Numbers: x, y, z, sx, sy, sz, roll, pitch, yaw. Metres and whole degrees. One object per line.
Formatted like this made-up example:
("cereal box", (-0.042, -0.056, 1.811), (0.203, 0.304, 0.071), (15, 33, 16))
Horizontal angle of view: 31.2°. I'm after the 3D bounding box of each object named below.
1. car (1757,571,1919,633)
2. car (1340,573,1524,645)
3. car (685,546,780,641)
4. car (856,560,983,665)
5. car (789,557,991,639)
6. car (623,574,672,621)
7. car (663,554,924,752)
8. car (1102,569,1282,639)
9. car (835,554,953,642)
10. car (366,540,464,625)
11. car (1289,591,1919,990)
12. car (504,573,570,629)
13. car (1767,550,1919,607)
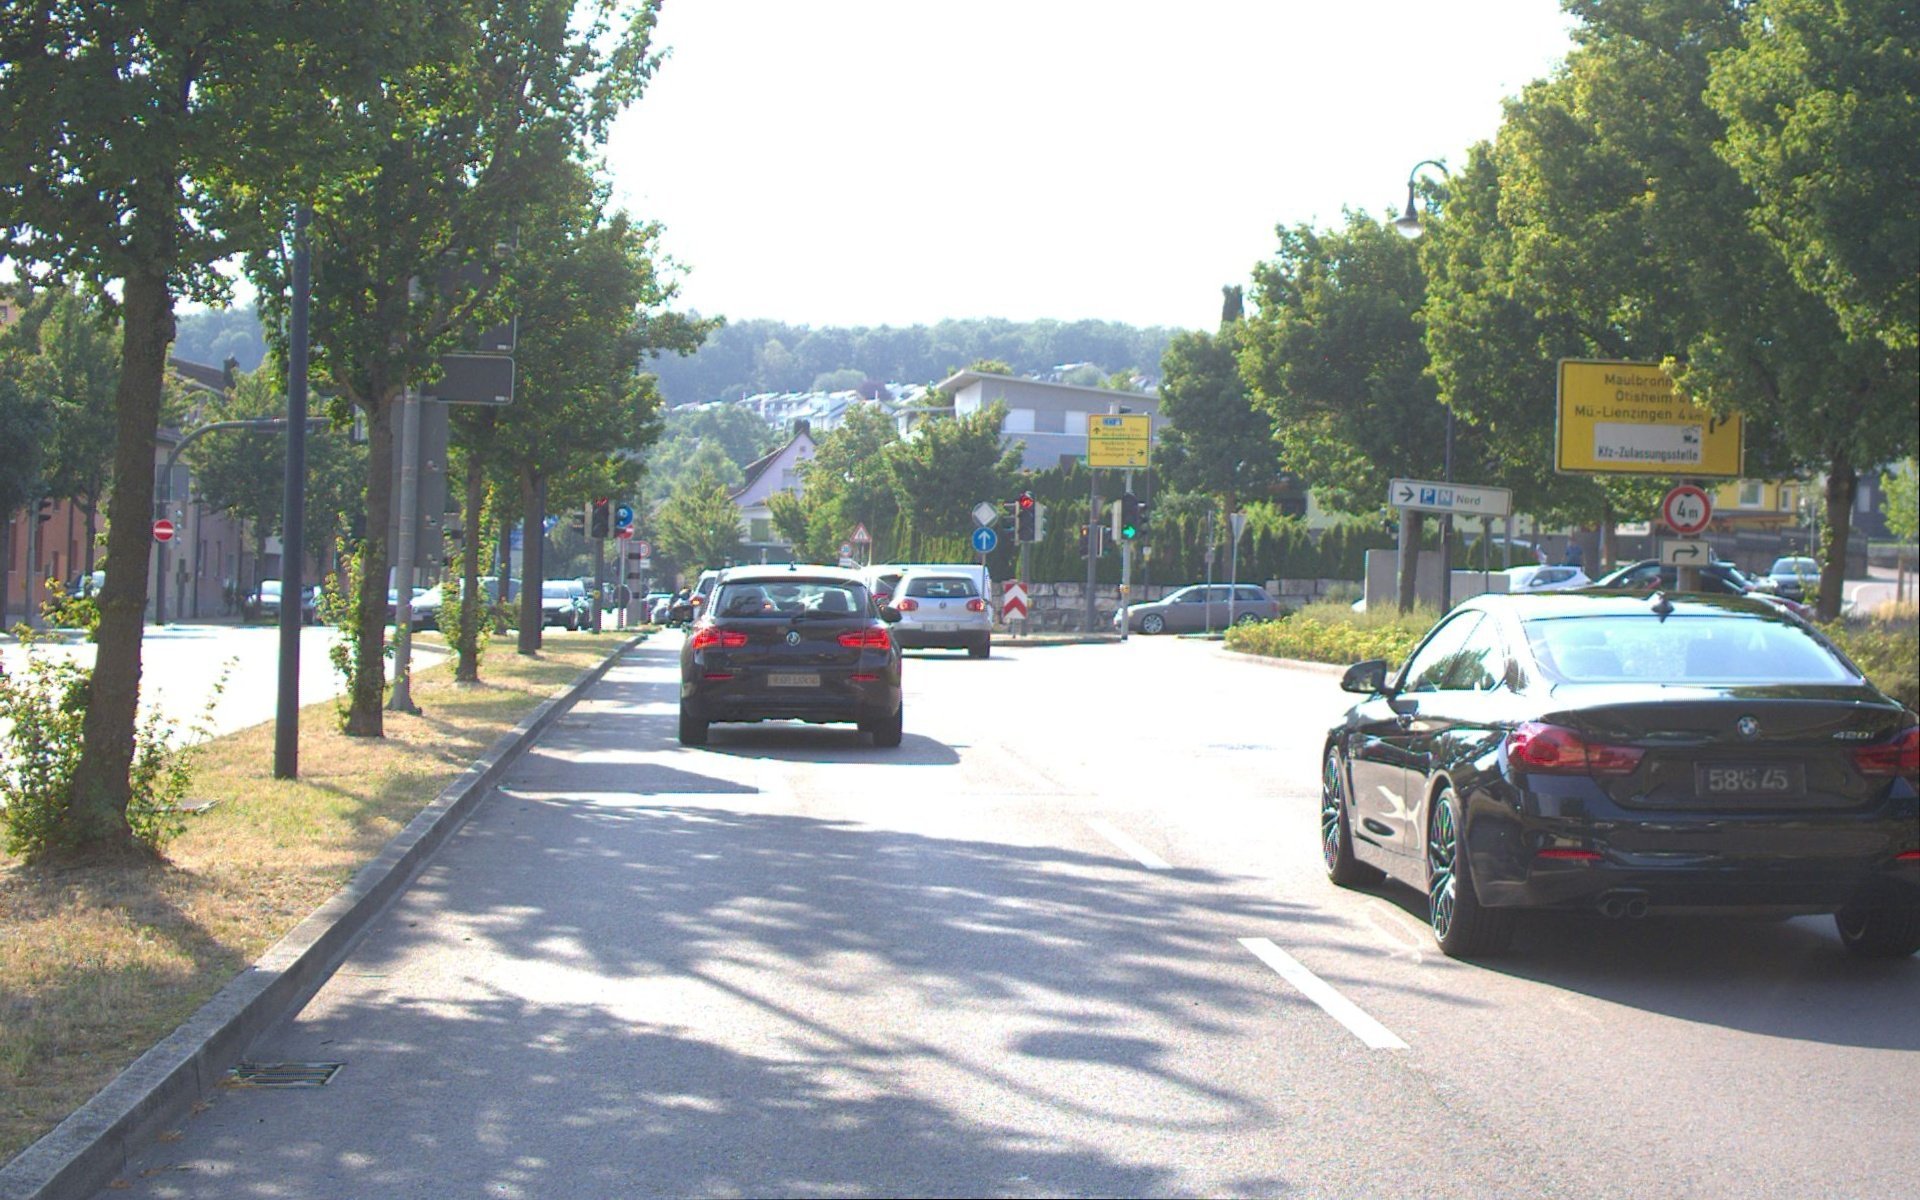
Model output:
("car", (26.514, 0.055, 103.185), (4.630, 1.823, 2.000), (0, 1, -6))
("car", (13.024, 0.241, 94.902), (4.533, 1.922, 2.147), (1, 1, -15))
("car", (-4.403, -0.151, 66.228), (1.756, 1.763, 3.971), (0, 1, -4))
("car", (-0.754, 0.186, 60.718), (1.925, 1.763, 4.455), (0, 1, -4))
("car", (-1.895, -0.064, 92.357), (5.106, 2.122, 2.147), (1, 1, -12))
("car", (-13.897, -0.119, 152.960), (1.772, 2.007, 4.000), (1, 1, 0))
("car", (-1.304, 0.375, 28.590), (1.721, 1.485, 4.352), (1, 1, 3))
("car", (6.634, 0.113, 98.851), (4.947, 1.922, 2.147), (1, 1, -2))
("car", (-1.436, -0.069, 72.615), (2.216, 1.763, 4.455), (0, 1, -4))
("car", (-13.282, -0.457, 84.067), (2.139, 2.002, 5.126), (1, 1, -7))
("car", (2.613, 0.663, 14.174), (1.920, 1.359, 4.353), (0, 0, -2))
("car", (-13.135, 0.027, 107.011), (1.730, 1.673, 4.001), (1, 1, -3))
("car", (28.885, -0.701, 111.952), (4.630, 1.823, 2.000), (0, 1, -6))
